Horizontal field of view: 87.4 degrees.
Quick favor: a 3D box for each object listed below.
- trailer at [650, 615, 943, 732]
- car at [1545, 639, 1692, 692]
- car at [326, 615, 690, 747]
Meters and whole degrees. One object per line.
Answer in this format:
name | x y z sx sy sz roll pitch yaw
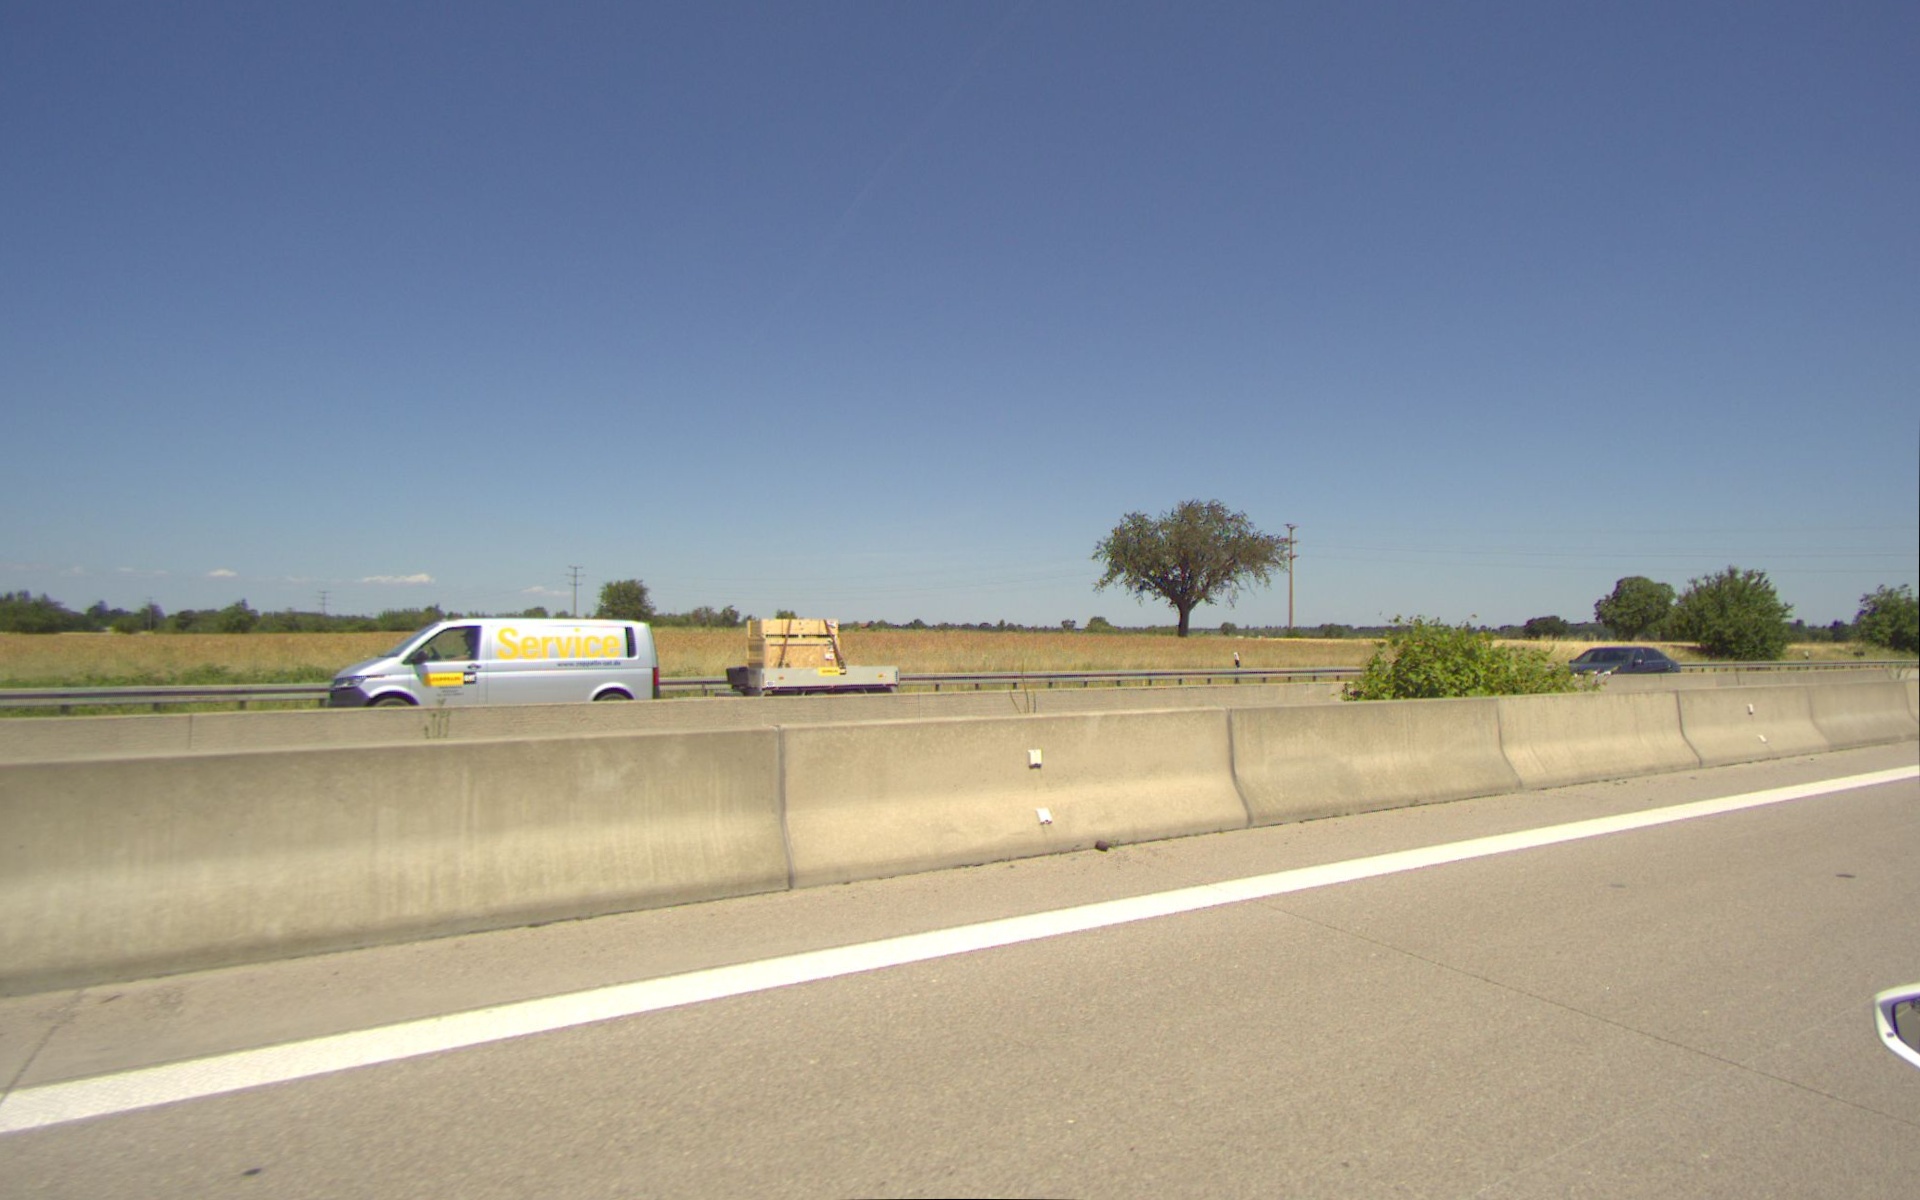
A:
trailer | -3.200 1.402 20.272 5.550 2.069 1.800 2 0 -31
car | 19.492 1.901 29.653 4.988 1.377 1.703 2 0 -32
car | -7.709 1.310 17.453 5.503 1.970 1.855 2 0 -31
